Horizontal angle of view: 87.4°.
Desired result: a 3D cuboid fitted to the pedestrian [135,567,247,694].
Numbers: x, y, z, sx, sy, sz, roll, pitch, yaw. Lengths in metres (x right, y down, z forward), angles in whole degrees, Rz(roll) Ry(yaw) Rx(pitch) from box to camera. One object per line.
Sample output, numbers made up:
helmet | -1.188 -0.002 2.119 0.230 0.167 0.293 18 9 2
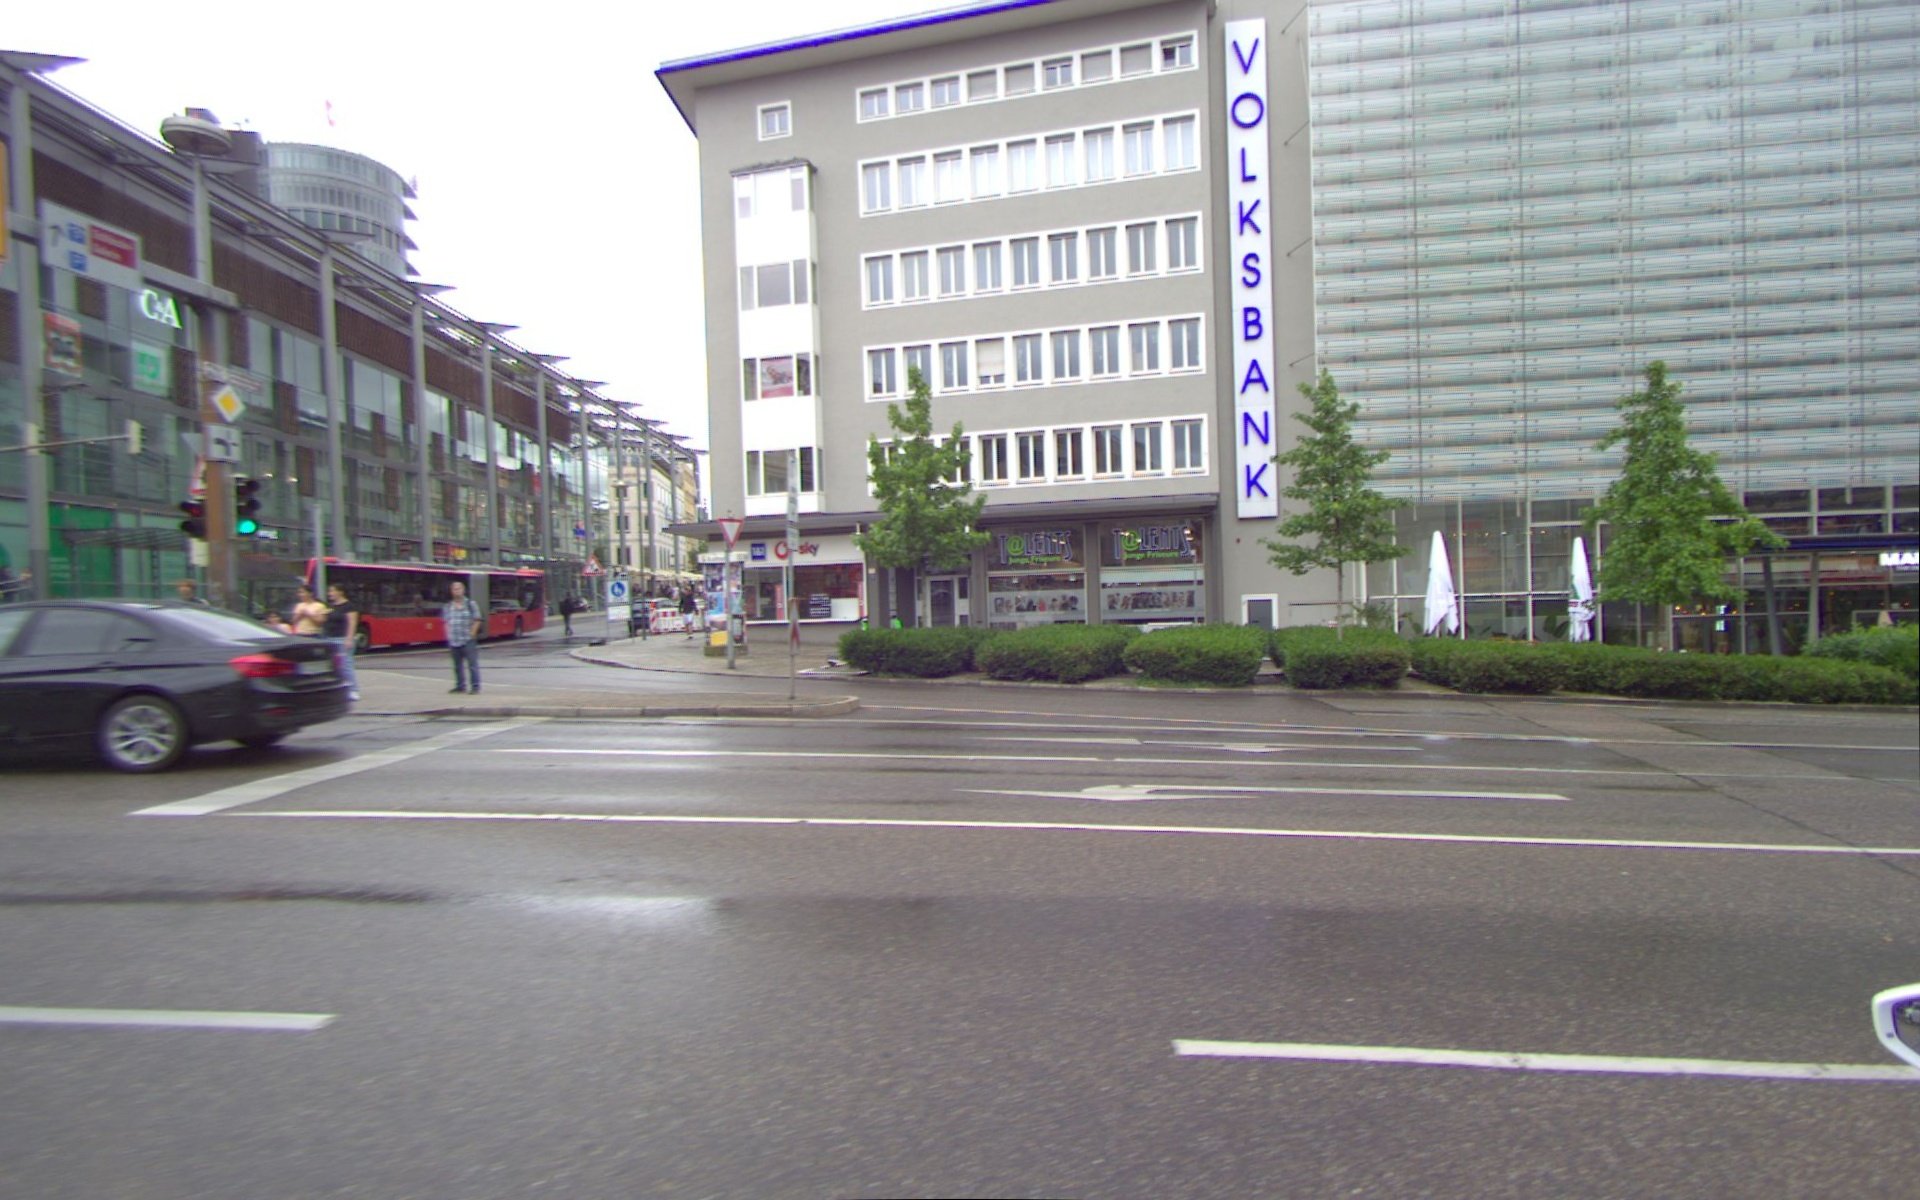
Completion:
pedestrian | -11.343 0.443 14.849 0.994 1.811 0.852 1 0 -8

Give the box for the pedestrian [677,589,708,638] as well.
pedestrian | -10.144 0.509 38.085 1.006 1.799 0.799 1 0 -8

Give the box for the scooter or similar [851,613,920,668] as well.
scooter or similar | -1.904 1.015 25.637 1.472 1.274 0.930 0 6 18

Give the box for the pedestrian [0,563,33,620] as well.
pedestrian | -34.044 -0.301 35.926 0.866 2.007 0.974 0 0 -2

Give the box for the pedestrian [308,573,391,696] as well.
pedestrian | -8.777 0.484 14.461 0.767 1.712 0.639 1 0 7

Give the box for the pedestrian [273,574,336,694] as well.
pedestrian | -9.432 0.482 14.464 0.559 1.691 0.502 0 0 5

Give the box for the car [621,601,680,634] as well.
car | -15.290 0.850 49.862 1.708 1.547 4.000 1 0 -1

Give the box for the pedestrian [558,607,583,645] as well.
pedestrian | -18.707 1.243 48.210 0.887 1.827 0.628 1 -1 11

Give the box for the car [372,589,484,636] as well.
car | -25.234 0.592 47.961 2.405 2.103 5.906 1 0 -3

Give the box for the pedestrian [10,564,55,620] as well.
pedestrian | -34.045 -0.289 36.889 0.861 2.007 0.849 0 0 -2

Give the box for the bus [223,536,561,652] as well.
bus | -20.212 -0.045 38.518 2.872 3.365 18.476 0 -1 -1

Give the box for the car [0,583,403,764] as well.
car | -7.831 0.595 8.985 4.545 1.444 1.999 0 0 -5

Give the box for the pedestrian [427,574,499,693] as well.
pedestrian | -7.723 0.516 15.634 0.817 1.802 0.617 1 0 -8

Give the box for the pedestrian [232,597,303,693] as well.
pedestrian | -9.987 0.639 14.503 0.620 1.357 0.587 1 0 -8

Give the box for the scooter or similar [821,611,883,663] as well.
scooter or similar | -2.603 0.891 24.120 1.357 1.203 0.544 -1 0 18
